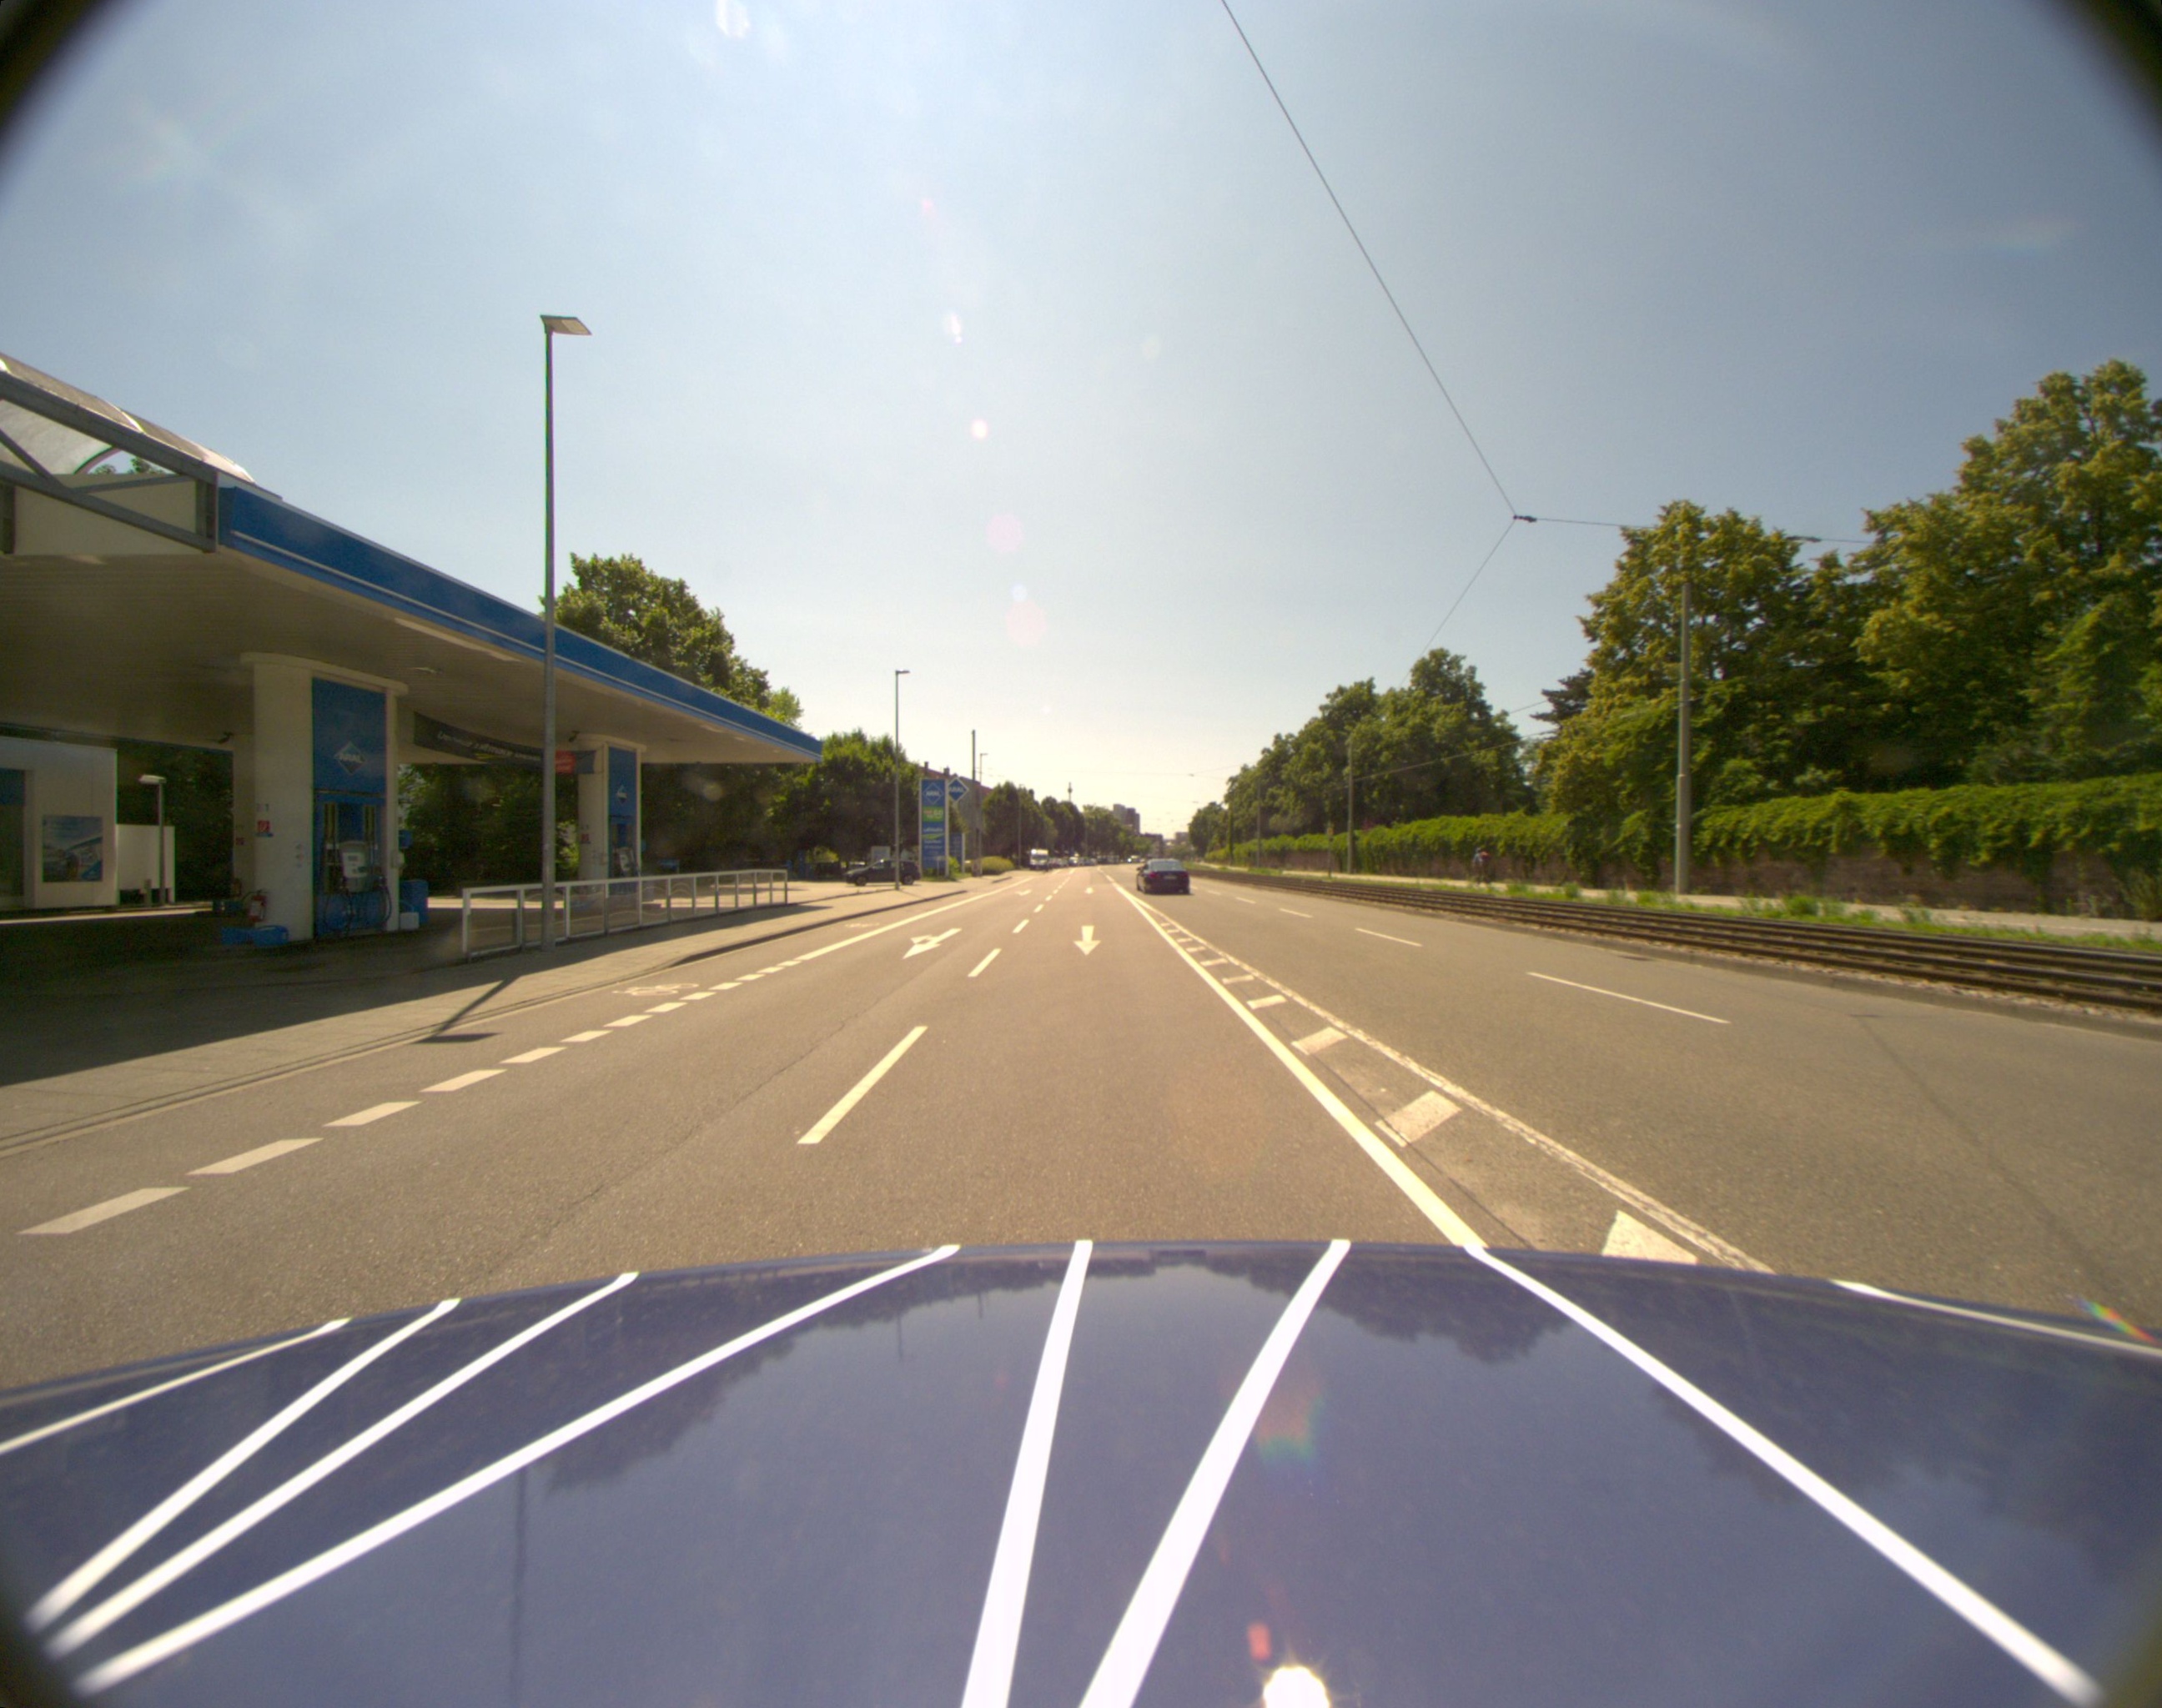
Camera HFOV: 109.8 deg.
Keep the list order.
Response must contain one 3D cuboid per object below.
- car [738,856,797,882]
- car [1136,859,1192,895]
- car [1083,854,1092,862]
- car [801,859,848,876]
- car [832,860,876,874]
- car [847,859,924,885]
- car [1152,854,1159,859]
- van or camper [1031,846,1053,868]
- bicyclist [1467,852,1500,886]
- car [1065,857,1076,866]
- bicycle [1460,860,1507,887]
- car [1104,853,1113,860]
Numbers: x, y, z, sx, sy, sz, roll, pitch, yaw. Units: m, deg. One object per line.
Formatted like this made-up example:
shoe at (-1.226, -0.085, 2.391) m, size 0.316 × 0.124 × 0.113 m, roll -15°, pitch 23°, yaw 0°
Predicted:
car at (-21.950, 1.010, 53.414) m, size 1.998 × 1.653 × 4.411 m, roll 0°, pitch 1°, yaw 5°
car at (3.482, 0.915, 32.495) m, size 1.798 × 1.391 × 4.447 m, roll 0°, pitch 0°, yaw -1°
car at (1.344, 0.845, 157.837) m, size 1.807 × 1.585 × 4.000 m, roll 0°, pitch 0°, yaw 1°
car at (-25.600, 1.341, 75.938) m, size 3.992 × 1.677 × 2.002 m, roll 0°, pitch 0°, yaw 15°
car at (-24.918, 1.430, 83.453) m, size 4.221 × 1.512 × 2.001 m, roll 0°, pitch 0°, yaw 8°
car at (-11.084, 0.991, 43.028) m, size 4.145 × 1.413 × 1.716 m, roll 0°, pitch 0°, yaw -18°
car at (20.775, 0.768, 210.870) m, size 1.695 × 1.460 × 4.003 m, roll 0°, pitch 0°, yaw 9°
van or camper at (-4.536, 0.327, 89.189) m, size 2.126 × 2.469 × 5.993 m, roll 2°, pitch 0°, yaw -1°
bicyclist at (18.009, 0.661, 34.033) m, size 0.997 × 1.477 × 1.000 m, roll 0°, pitch 0°, yaw 4°
car at (-1.860, 1.316, 137.833) m, size 1.725 × 1.586 × 4.001 m, roll 0°, pitch 0°, yaw 3°
bicycle at (18.059, 0.863, 34.153) m, size 0.830 × 1.149 × 2.686 m, roll 0°, pitch 0°, yaw 3°
car at (6.845, 0.715, 188.677) m, size 1.998 × 1.718 × 4.000 m, roll 0°, pitch 0°, yaw 1°
